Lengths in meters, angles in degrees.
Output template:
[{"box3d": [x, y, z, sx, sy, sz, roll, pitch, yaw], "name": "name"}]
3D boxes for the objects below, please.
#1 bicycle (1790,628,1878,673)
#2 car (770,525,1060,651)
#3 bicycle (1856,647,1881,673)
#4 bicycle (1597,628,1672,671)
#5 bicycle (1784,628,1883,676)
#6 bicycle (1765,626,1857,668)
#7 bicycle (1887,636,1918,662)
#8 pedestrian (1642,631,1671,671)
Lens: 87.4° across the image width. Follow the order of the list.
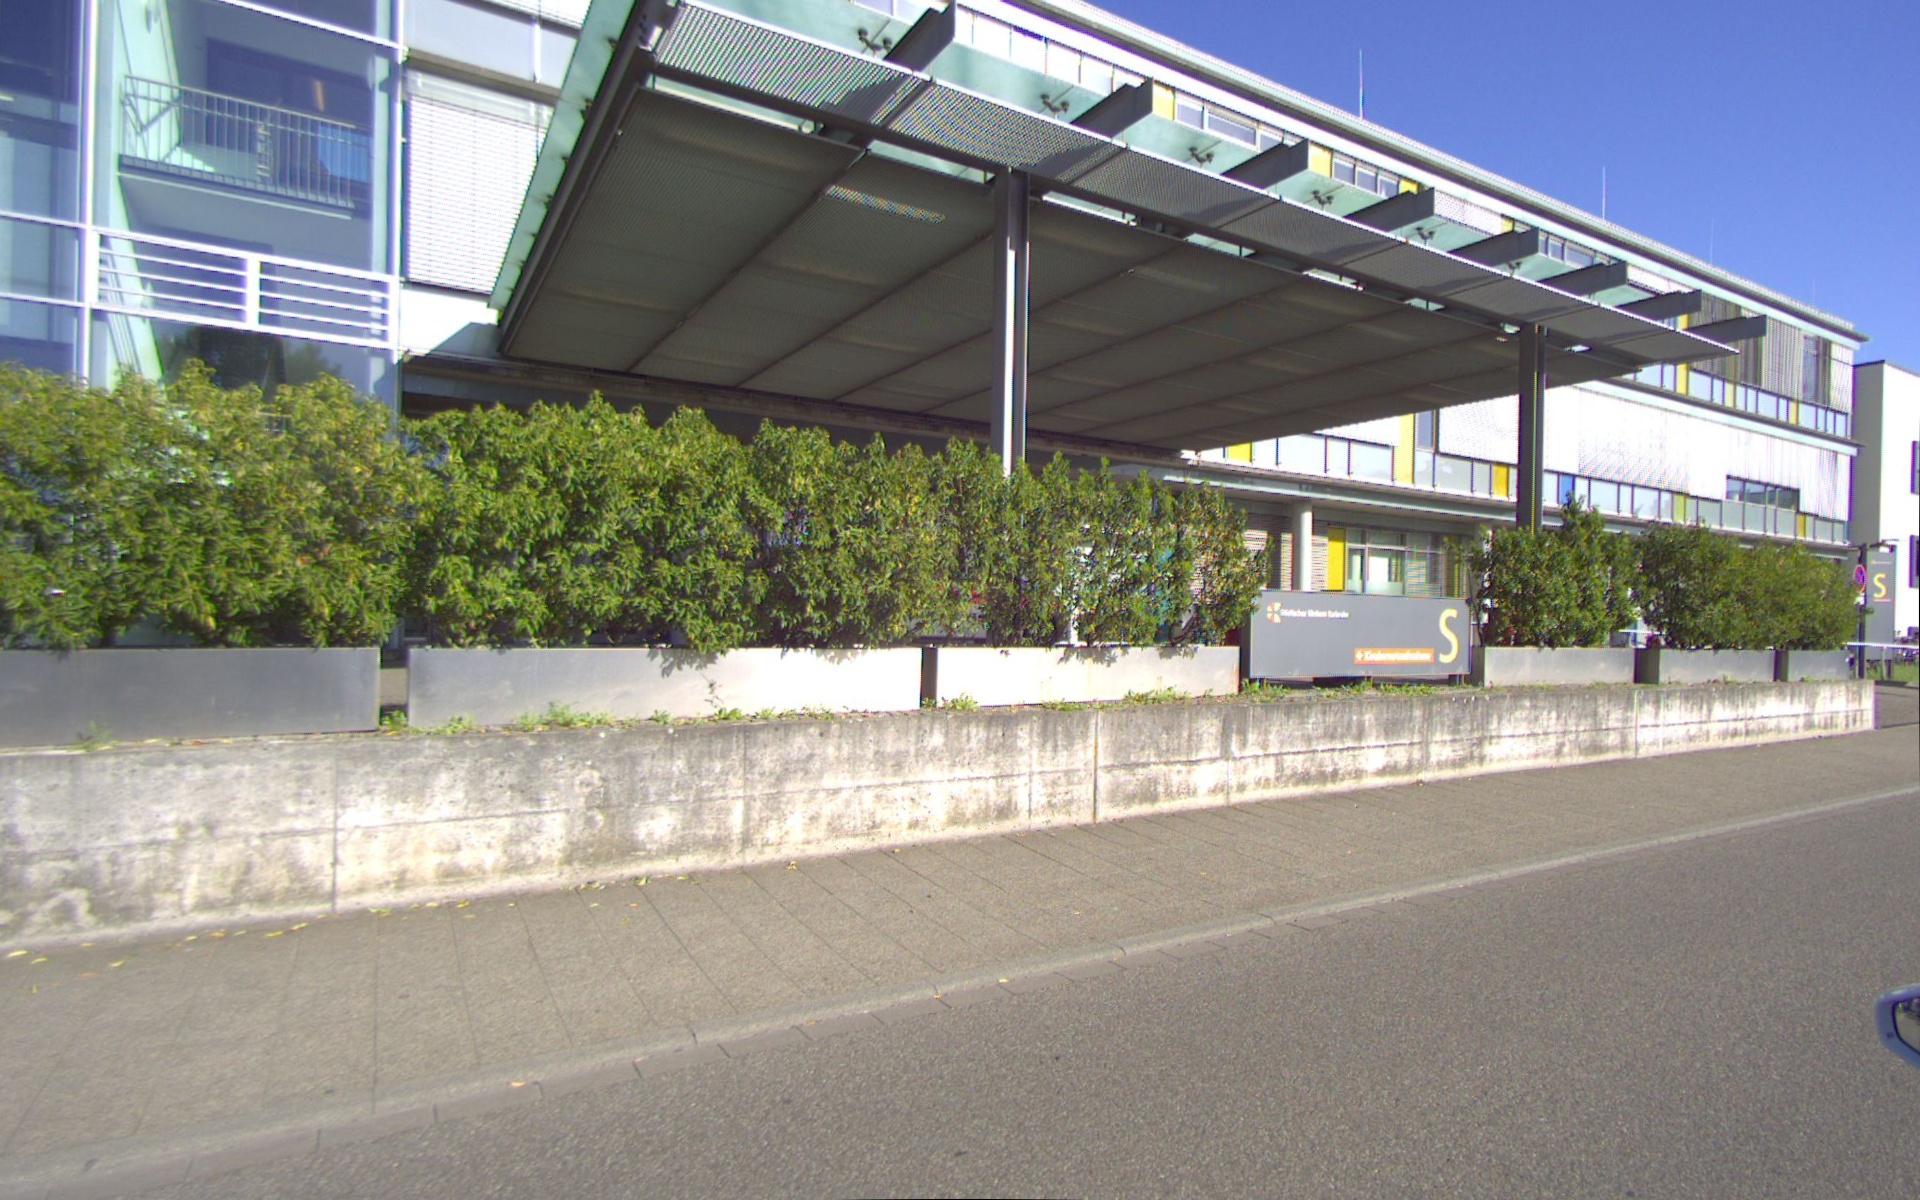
[{"box3d": [23.259, 1.328, 26.755, 0.529, 1.136, 1.698, 1, -1, -24], "name": "bicycle"}, {"box3d": [-0.721, -0.139, 17.288, 4.657, 1.916, 1.910, 1, -1, -31], "name": "car"}, {"box3d": [32.557, 2.140, 35.989, 1.433, 0.885, 0.253, 1, -1, -30], "name": "bicycle"}, {"box3d": [19.202, 1.395, 28.630, 0.530, 1.138, 1.706, 1, -1, -31], "name": "bicycle"}, {"box3d": [20.933, 1.235, 24.100, 0.530, 1.069, 1.706, 1, -1, -31], "name": "bicycle"}, {"box3d": [21.493, 1.170, 25.398, 0.530, 0.987, 1.706, 1, -1, -31], "name": "bicycle"}, {"box3d": [32.561, 1.689, 34.698, 1.433, 0.875, 0.367, 1, -1, -30], "name": "bicycle"}, {"box3d": [21.376, 1.565, 30.819, 0.549, 1.188, 0.529, 1, 0, -29], "name": "pedestrian"}]
